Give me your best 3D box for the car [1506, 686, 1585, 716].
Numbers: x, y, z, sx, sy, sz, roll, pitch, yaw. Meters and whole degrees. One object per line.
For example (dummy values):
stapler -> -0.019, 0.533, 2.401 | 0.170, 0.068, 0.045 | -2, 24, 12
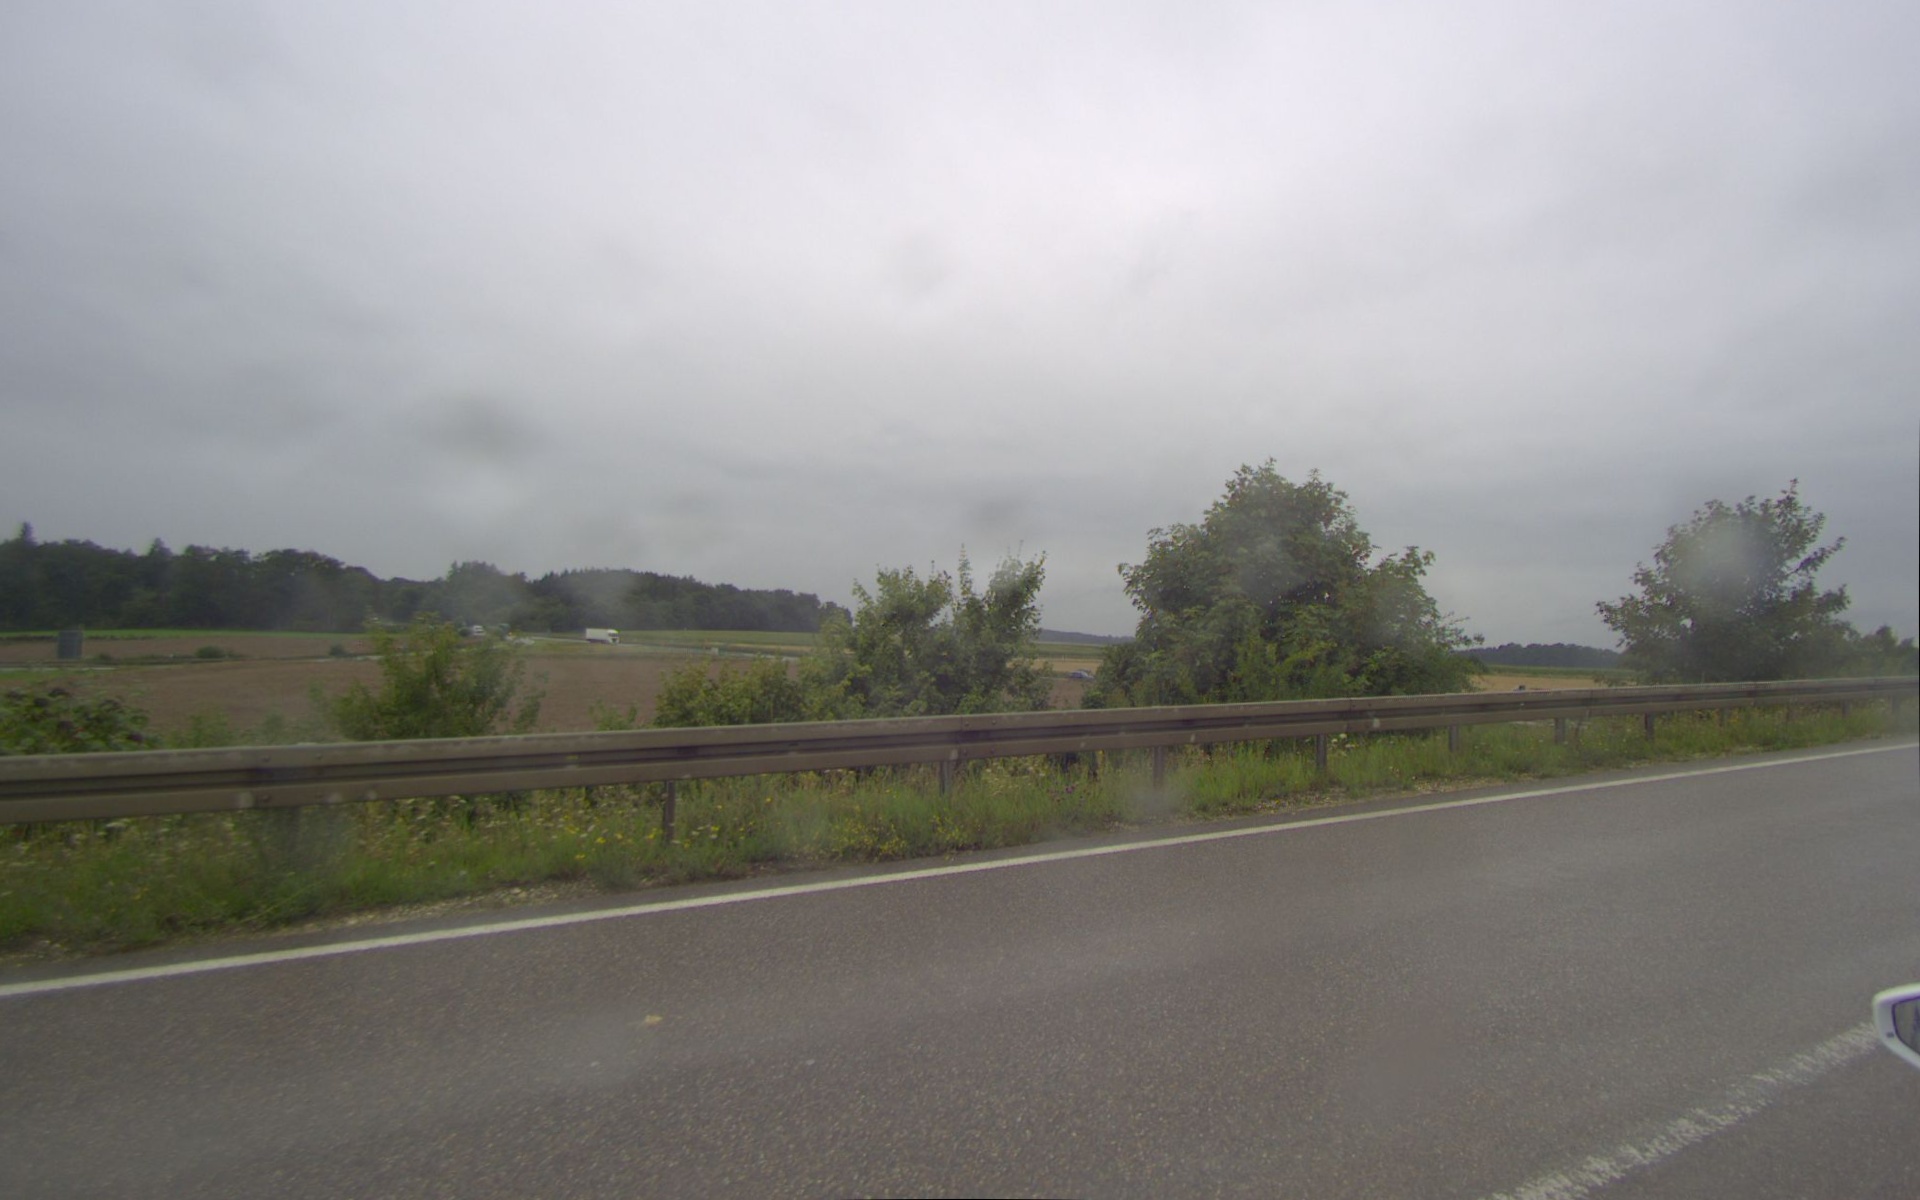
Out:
car -> 71.541, 12.308, 122.874 | 2.992, 3.008, 7.753 | 4, -2, -41
